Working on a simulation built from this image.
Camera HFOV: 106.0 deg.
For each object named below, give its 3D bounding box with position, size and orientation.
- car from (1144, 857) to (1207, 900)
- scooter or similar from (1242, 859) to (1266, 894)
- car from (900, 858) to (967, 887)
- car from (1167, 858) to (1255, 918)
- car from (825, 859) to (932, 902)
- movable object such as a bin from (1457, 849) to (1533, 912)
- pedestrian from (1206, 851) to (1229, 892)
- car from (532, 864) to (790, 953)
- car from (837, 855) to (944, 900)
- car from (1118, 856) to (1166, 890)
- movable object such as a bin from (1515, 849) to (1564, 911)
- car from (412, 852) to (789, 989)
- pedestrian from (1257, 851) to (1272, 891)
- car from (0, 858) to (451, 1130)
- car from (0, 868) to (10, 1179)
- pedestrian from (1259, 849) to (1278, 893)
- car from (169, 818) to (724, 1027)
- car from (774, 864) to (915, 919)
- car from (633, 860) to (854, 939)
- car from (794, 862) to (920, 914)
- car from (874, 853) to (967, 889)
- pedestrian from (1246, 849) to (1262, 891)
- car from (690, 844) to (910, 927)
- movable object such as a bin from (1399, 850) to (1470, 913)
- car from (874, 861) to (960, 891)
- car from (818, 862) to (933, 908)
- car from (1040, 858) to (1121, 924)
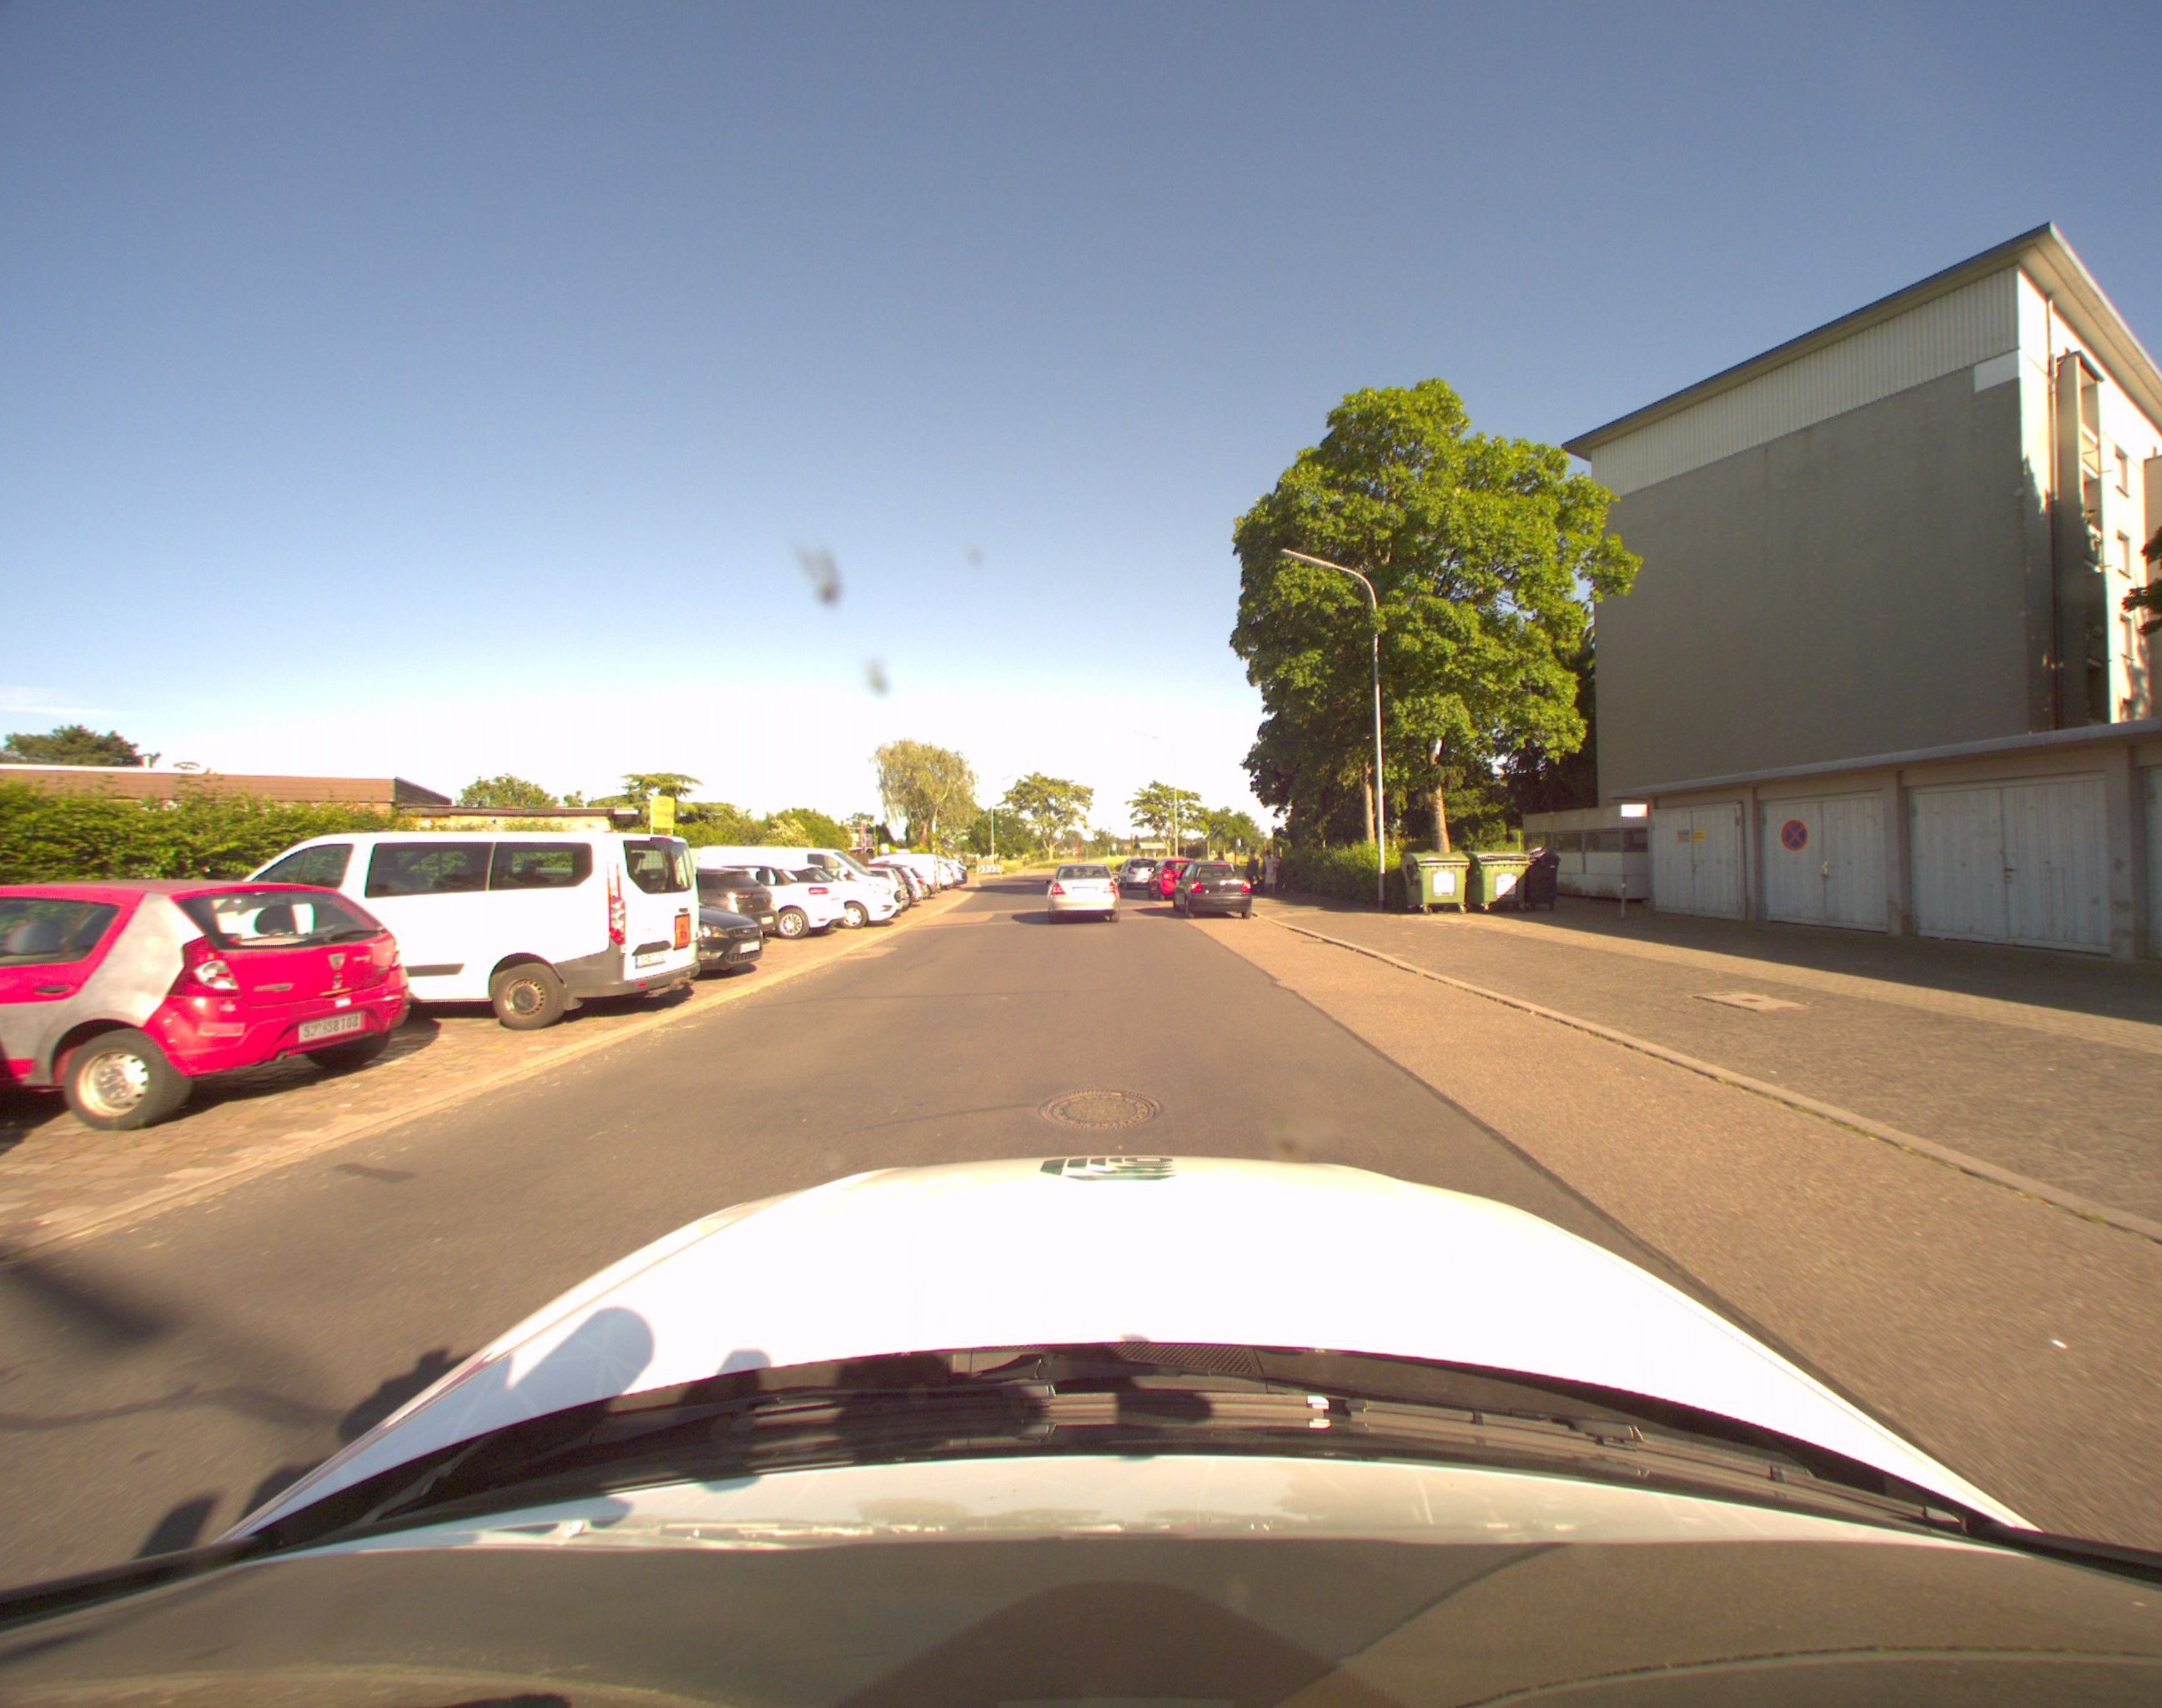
[{"bbox_3d":[3.308,0.845,29.234,1.572,1.446,3.782,0,-1,-4],"label":"car"},{"bbox_3d":[6.245,0.806,29.454,0.621,1.227,0.904,-2,-1,-3],"label":"scooter or similar"},{"bbox_3d":[-8.584,1.096,47.611,3.604,1.607,1.731,1,-1,-3],"label":"car"},{"bbox_3d":[3.362,0.856,21.712,1.642,1.403,3.879,-2,-1,-1],"label":"car"},{"bbox_3d":[-7.497,0.973,30.333,3.502,1.489,1.727,1,-1,0],"label":"car"},{"bbox_3d":[9.638,0.608,19.005,1.270,1.416,0.951,-1,-1,-1],"label":"movable object such as a bin"},{"bbox_3d":[5.356,0.690,31.906,0.785,1.565,0.569,1,-1,-3],"label":"pedestrian"},{"bbox_3d":[-7.672,0.969,15.155,3.754,1.487,1.884,1,-1,1],"label":"car"},{"bbox_3d":[-7.678,0.930,33.155,3.972,1.780,1.922,0,0,-6],"label":"car"},{"bbox_3d":[2.853,0.877,38.903,1.728,1.543,3.782,0,-1,-4],"label":"car"},{"bbox_3d":[10.657,0.599,18.956,0.721,1.416,0.688,-1,-1,-1],"label":"movable object such as a bin"},{"bbox_3d":[-6.562,0.870,11.491,4.136,1.706,1.884,1,-1,1],"label":"car"},{"bbox_3d":[7.052,0.641,31.233,0.361,1.503,0.500,-2,-2,-5],"label":"pedestrian"},{"bbox_3d":[-7.087,0.853,5.888,3.588,1.567,1.853,1,0,1],"label":"car"},{"bbox_3d":[-7.268,0.831,3.231,3.588,1.567,1.882,1,0,2],"label":"car"},{"bbox_3d":[6.826,0.613,29.677,0.485,1.565,0.468,-2,-2,-6],"label":"pedestrian"},{"bbox_3d":[-6.648,0.687,8.979,4.463,1.977,2.000,1,-1,0],"label":"car"},{"bbox_3d":[-6.688,1.043,23.249,3.502,1.446,1.636,1,-1,0],"label":"car"},{"bbox_3d":[-7.245,0.956,17.782,3.972,1.583,1.884,1,-1,1],"label":"car"},{"bbox_3d":[-6.907,1.040,25.385,3.507,1.489,1.634,1,1,-5],"label":"car"},{"bbox_3d":[-8.798,0.918,44.904,4.867,1.915,1.995,0,-1,-7],"label":"car"},{"bbox_3d":[6.535,0.598,30.793,0.478,1.565,0.598,-3,-2,8],"label":"pedestrian"},{"bbox_3d":[-6.948,0.782,20.577,4.776,1.921,2.080,1,-1,-2],"label":"car"},{"bbox_3d":[8.205,0.630,18.952,1.233,1.403,0.914,-1,-1,-1],"label":"movable object such as a bin"},{"bbox_3d":[-8.500,1.132,42.457,4.129,1.492,1.922,1,-1,-4],"label":"car"},{"bbox_3d":[-7.004,1.040,27.989,3.502,1.489,1.636,1,-1,0],"label":"car"},{"bbox_3d":[0.039,0.847,20.546,1.810,1.463,4.362,0,0,1],"label":"car"}]
